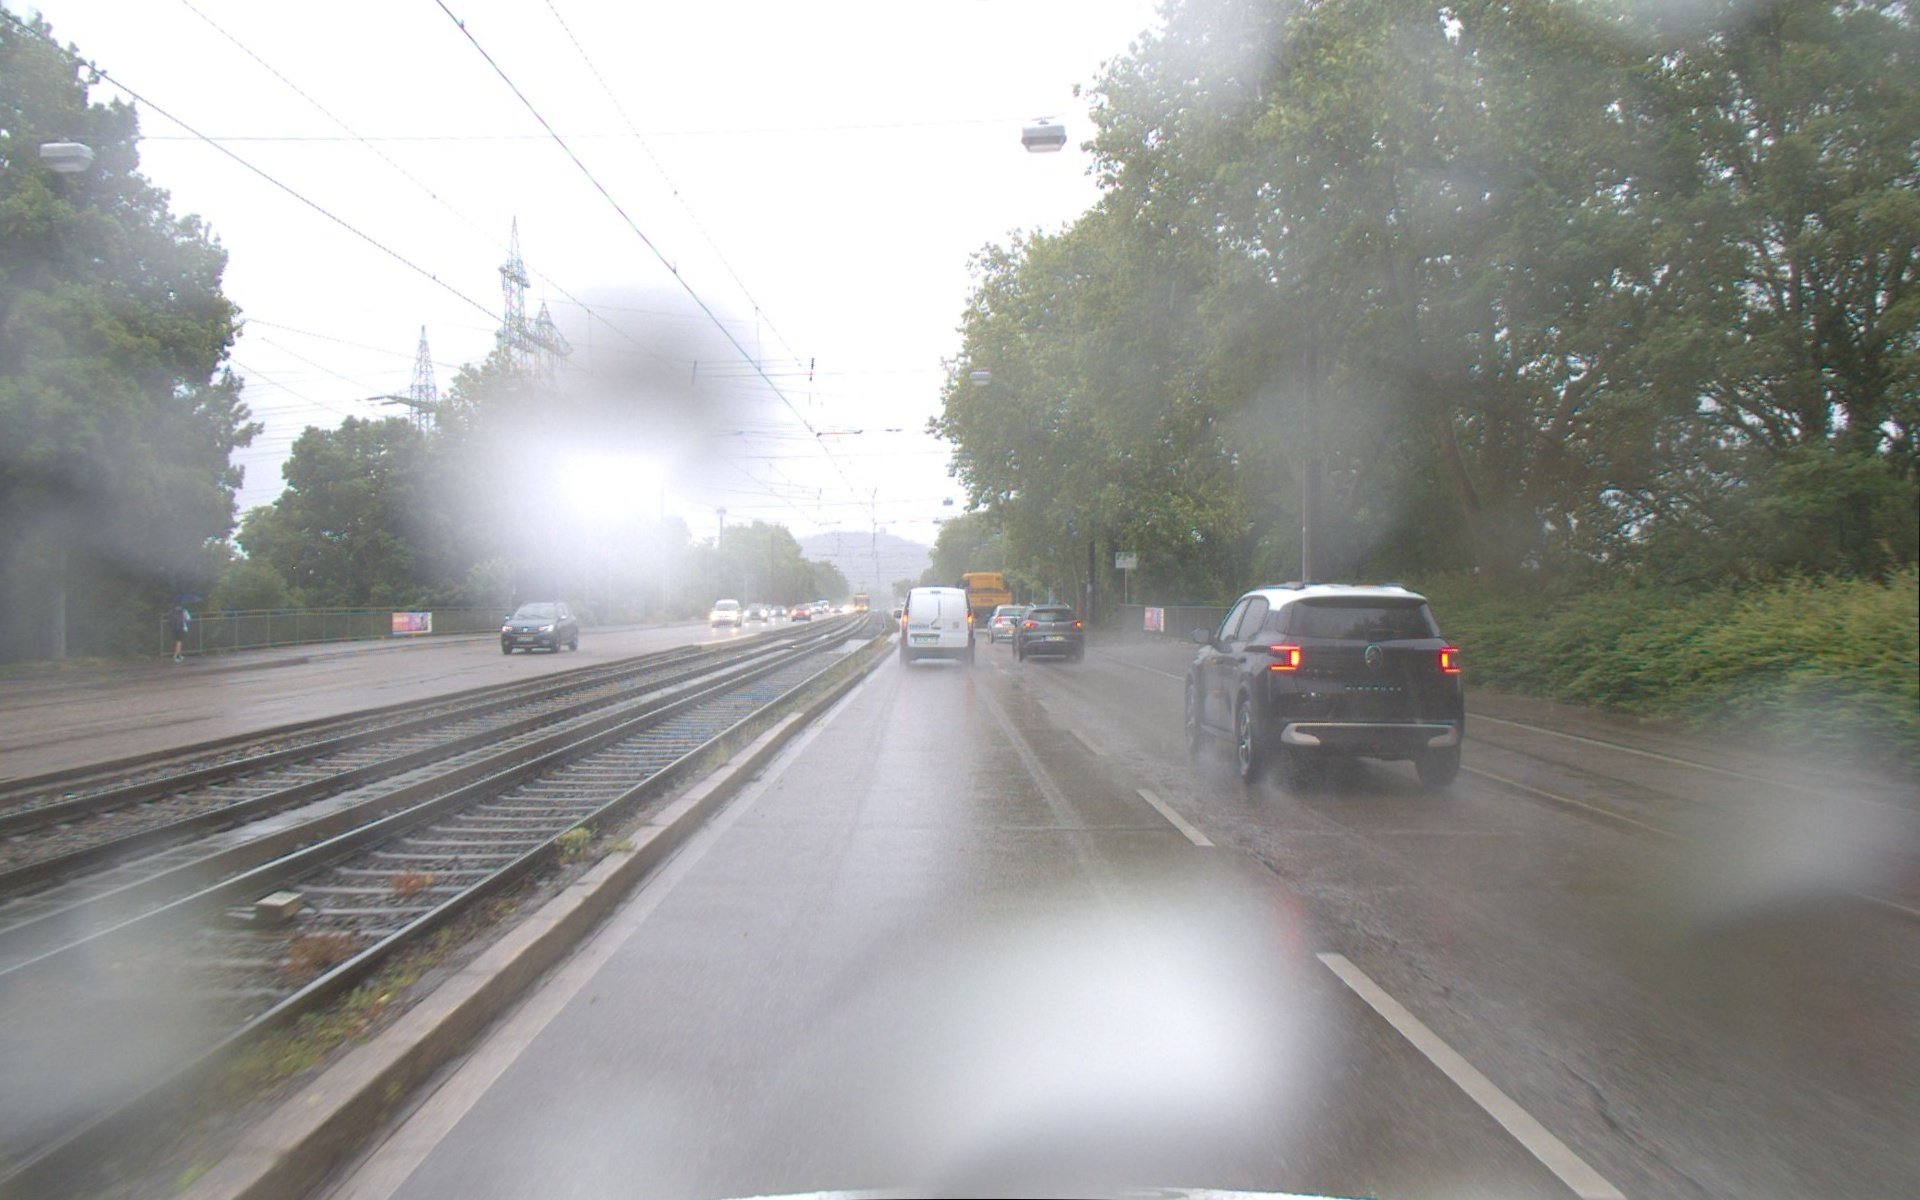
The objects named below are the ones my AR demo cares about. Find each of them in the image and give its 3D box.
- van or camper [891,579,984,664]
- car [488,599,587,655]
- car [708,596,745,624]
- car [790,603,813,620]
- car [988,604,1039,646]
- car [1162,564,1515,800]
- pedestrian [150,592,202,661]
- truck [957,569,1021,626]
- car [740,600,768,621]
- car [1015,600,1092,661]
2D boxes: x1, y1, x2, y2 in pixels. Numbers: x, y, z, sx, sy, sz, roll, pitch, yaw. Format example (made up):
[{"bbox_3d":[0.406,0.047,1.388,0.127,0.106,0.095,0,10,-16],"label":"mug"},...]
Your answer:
[{"bbox_3d":[-0.582,0.461,38.912,1.954,1.815,3.998,1,1,-4],"label":"van or camper"},{"bbox_3d":[-13.181,0.807,51.804,1.952,1.646,4.253,-1,0,1],"label":"car"},{"bbox_3d":[-15.844,0.690,112.394,1.953,1.847,4.657,0,0,-2],"label":"car"},{"bbox_3d":[-14.267,1.042,149.202,1.623,1.512,4.013,0,0,0],"label":"car"},{"bbox_3d":[2.027,0.930,63.183,1.781,1.438,3.778,1,1,-1],"label":"car"},{"bbox_3d":[3.132,0.582,14.767,1.861,1.746,4.723,1,1,-3],"label":"car"},{"bbox_3d":[-20.782,0.679,43.850,0.834,1.790,1.120,-1,0,-1],"label":"pedestrian"},{"bbox_3d":[1.453,-0.147,85.381,3.050,2.821,6.327,0,0,-1],"label":"truck"},{"bbox_3d":[-18.170,0.925,146.026,1.953,1.847,4.000,0,0,0],"label":"car"},{"bbox_3d":[2.421,0.766,43.559,1.781,1.438,3.778,1,1,-1],"label":"car"}]
